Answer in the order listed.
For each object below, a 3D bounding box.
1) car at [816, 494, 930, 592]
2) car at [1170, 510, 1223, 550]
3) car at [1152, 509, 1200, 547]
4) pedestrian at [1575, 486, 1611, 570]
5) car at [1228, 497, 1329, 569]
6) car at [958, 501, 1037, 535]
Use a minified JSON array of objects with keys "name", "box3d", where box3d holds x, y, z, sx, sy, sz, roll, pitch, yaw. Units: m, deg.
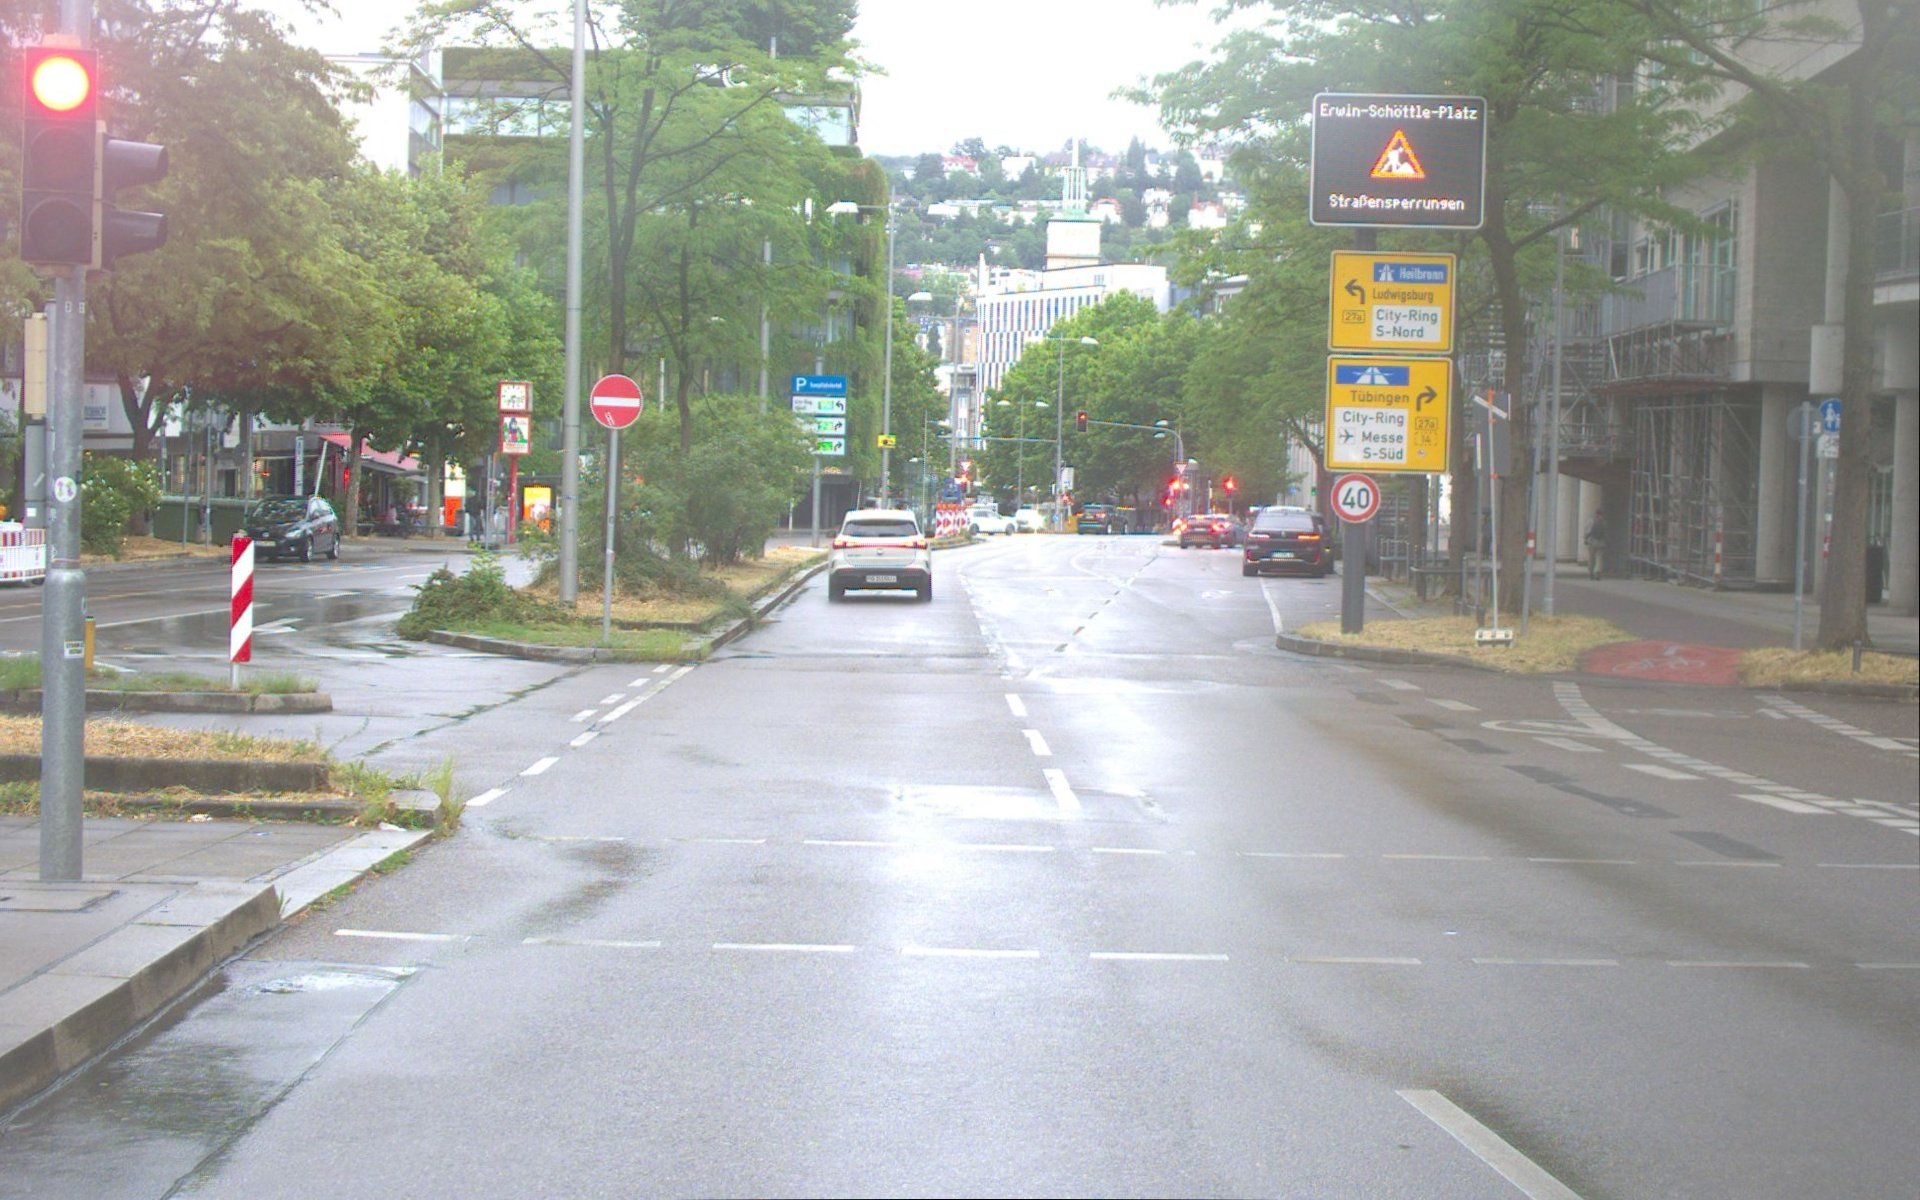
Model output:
[{"name":"car","box3d":[-1.611,-1.039,62.121,1.828,1.634,4.301,2,1,-4]},{"name":"car","box3d":[10.709,-3.156,155.714,1.993,1.718,4.000,1,0,-1]},{"name":"car","box3d":[10.453,-3.486,166.793,1.993,1.730,4.000,1,0,-1]},{"name":"pedestrian","box3d":[14.614,-1.658,79.397,0.775,1.914,0.702,1,0,10]},{"name":"car","box3d":[7.756,-1.637,83.418,2.339,1.685,3.999,1,2,6]},{"name":"car","box3d":[2.105,-4.574,192.352,3.988,1.752,1.999,1,1,-40]}]
